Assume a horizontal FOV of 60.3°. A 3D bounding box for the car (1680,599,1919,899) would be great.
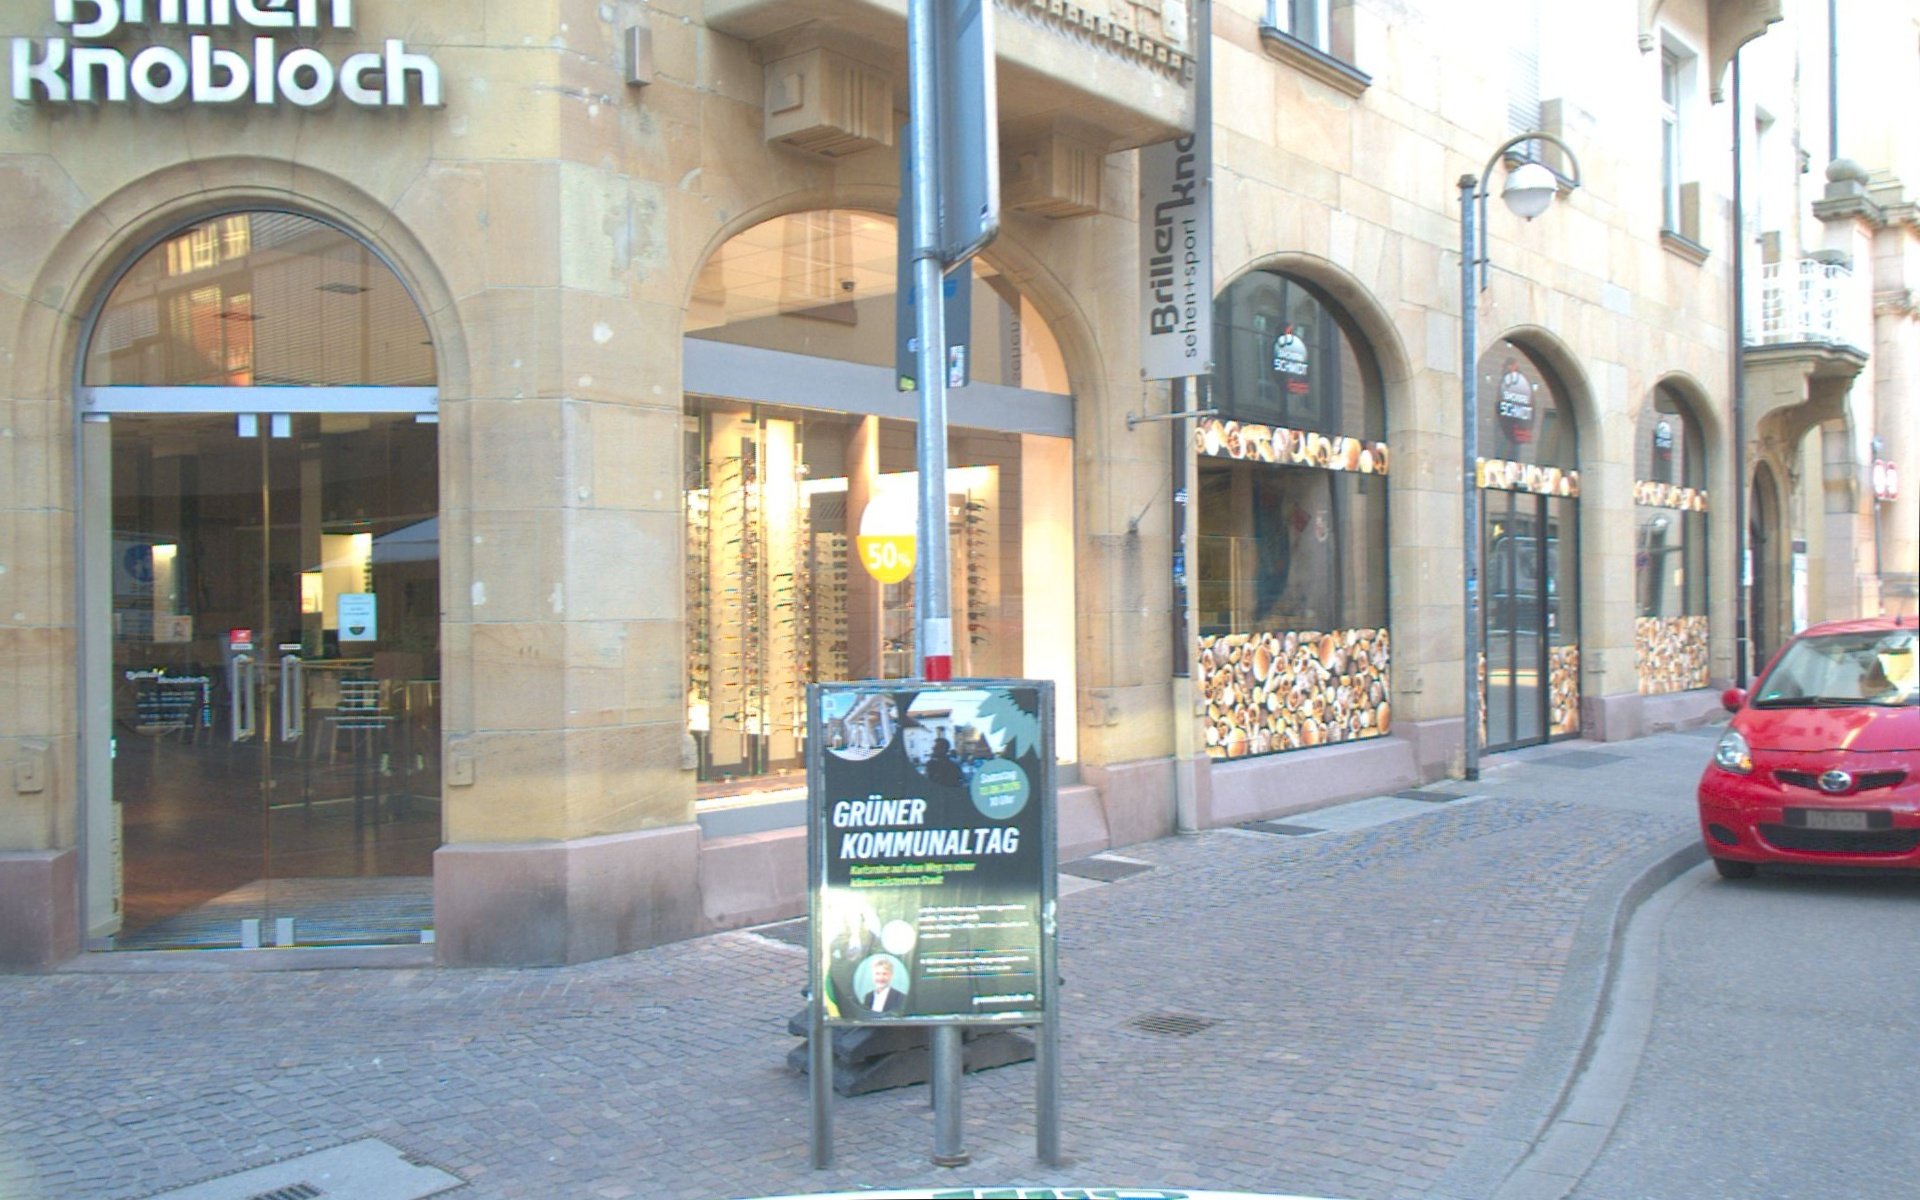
[{"bbox_3d":[5.863,0.741,9.940,1.633,1.495,3.909,-4,-2,42],"label":"car"}]
